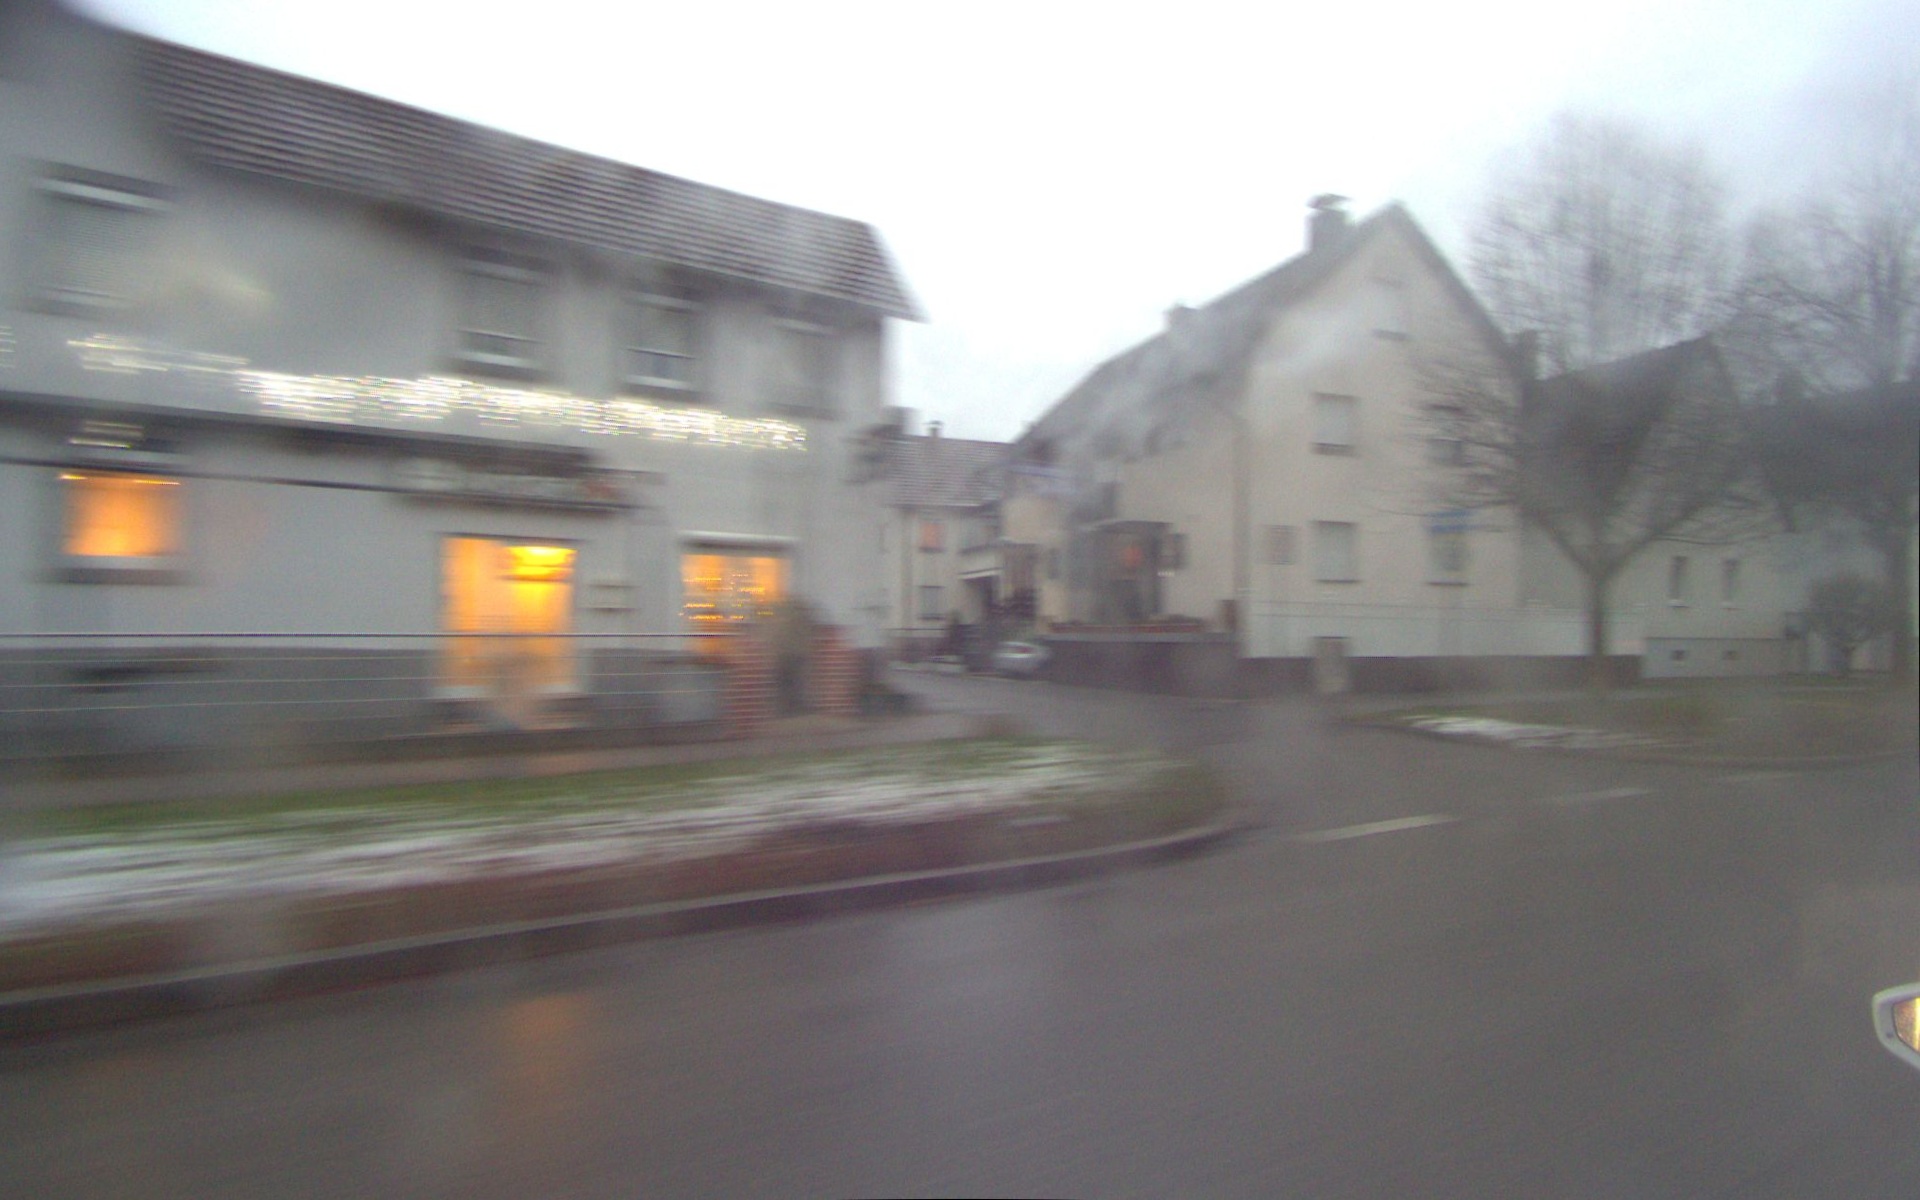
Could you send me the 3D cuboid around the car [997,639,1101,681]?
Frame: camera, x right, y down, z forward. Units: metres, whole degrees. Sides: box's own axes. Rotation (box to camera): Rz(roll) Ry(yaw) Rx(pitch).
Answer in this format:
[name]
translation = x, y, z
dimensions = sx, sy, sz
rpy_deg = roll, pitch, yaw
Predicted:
[car]
translation = 2.445, 1.629, 27.525
dimensions = 2.618, 1.072, 1.123
rpy_deg = 1, -1, -21
